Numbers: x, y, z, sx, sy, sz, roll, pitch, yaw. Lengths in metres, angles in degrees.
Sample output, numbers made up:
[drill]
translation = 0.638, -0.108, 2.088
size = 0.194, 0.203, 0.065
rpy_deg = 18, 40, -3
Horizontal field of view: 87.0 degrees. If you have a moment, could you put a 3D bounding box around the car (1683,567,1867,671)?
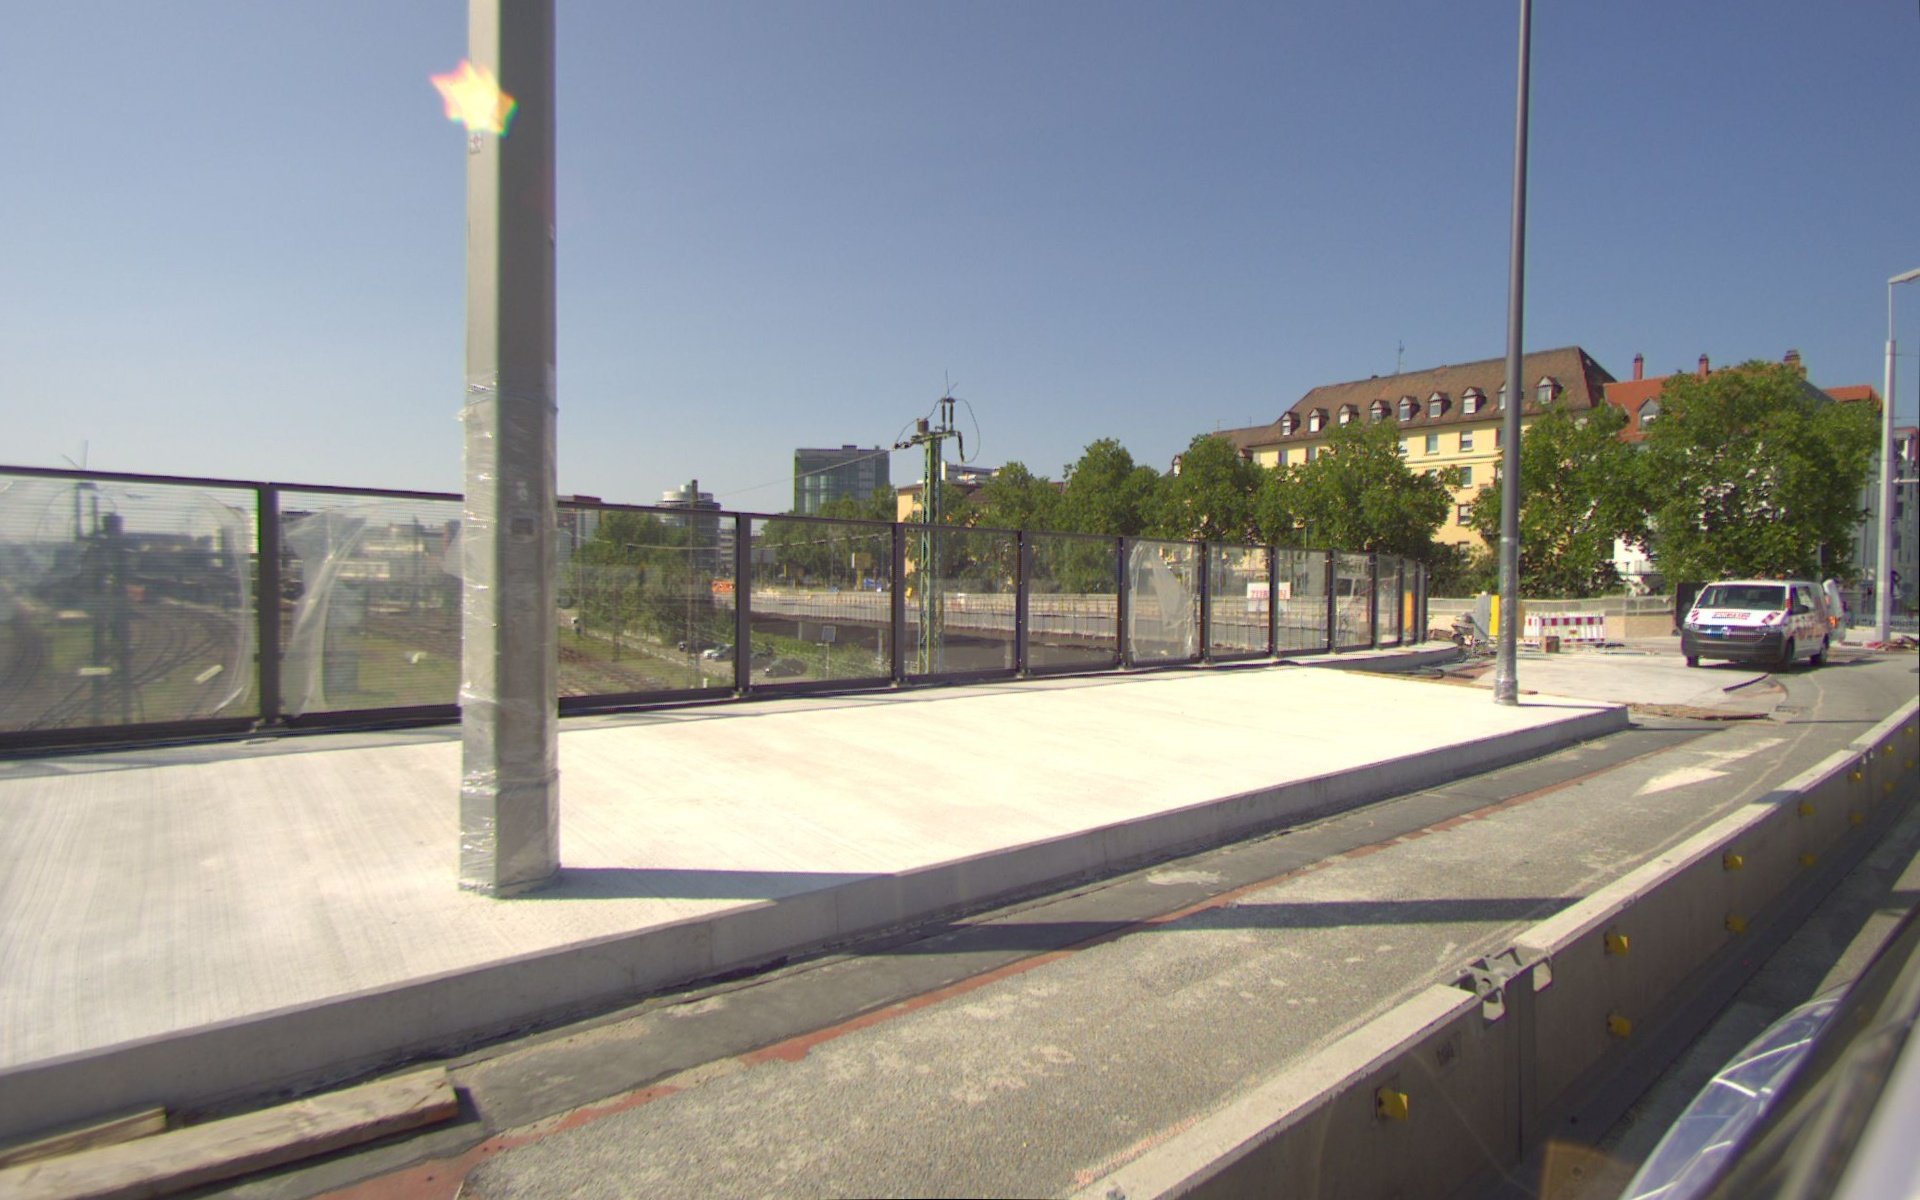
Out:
[car]
translation = 18.812, 0.299, 23.226
size = 6.353, 2.116, 1.938
rpy_deg = -1, 2, -39

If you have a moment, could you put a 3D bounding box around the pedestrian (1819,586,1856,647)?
[pedestrian]
translation = 29.679, 0.546, 34.227
size = 0.828, 2.009, 0.761
rpy_deg = -1, 3, -40
